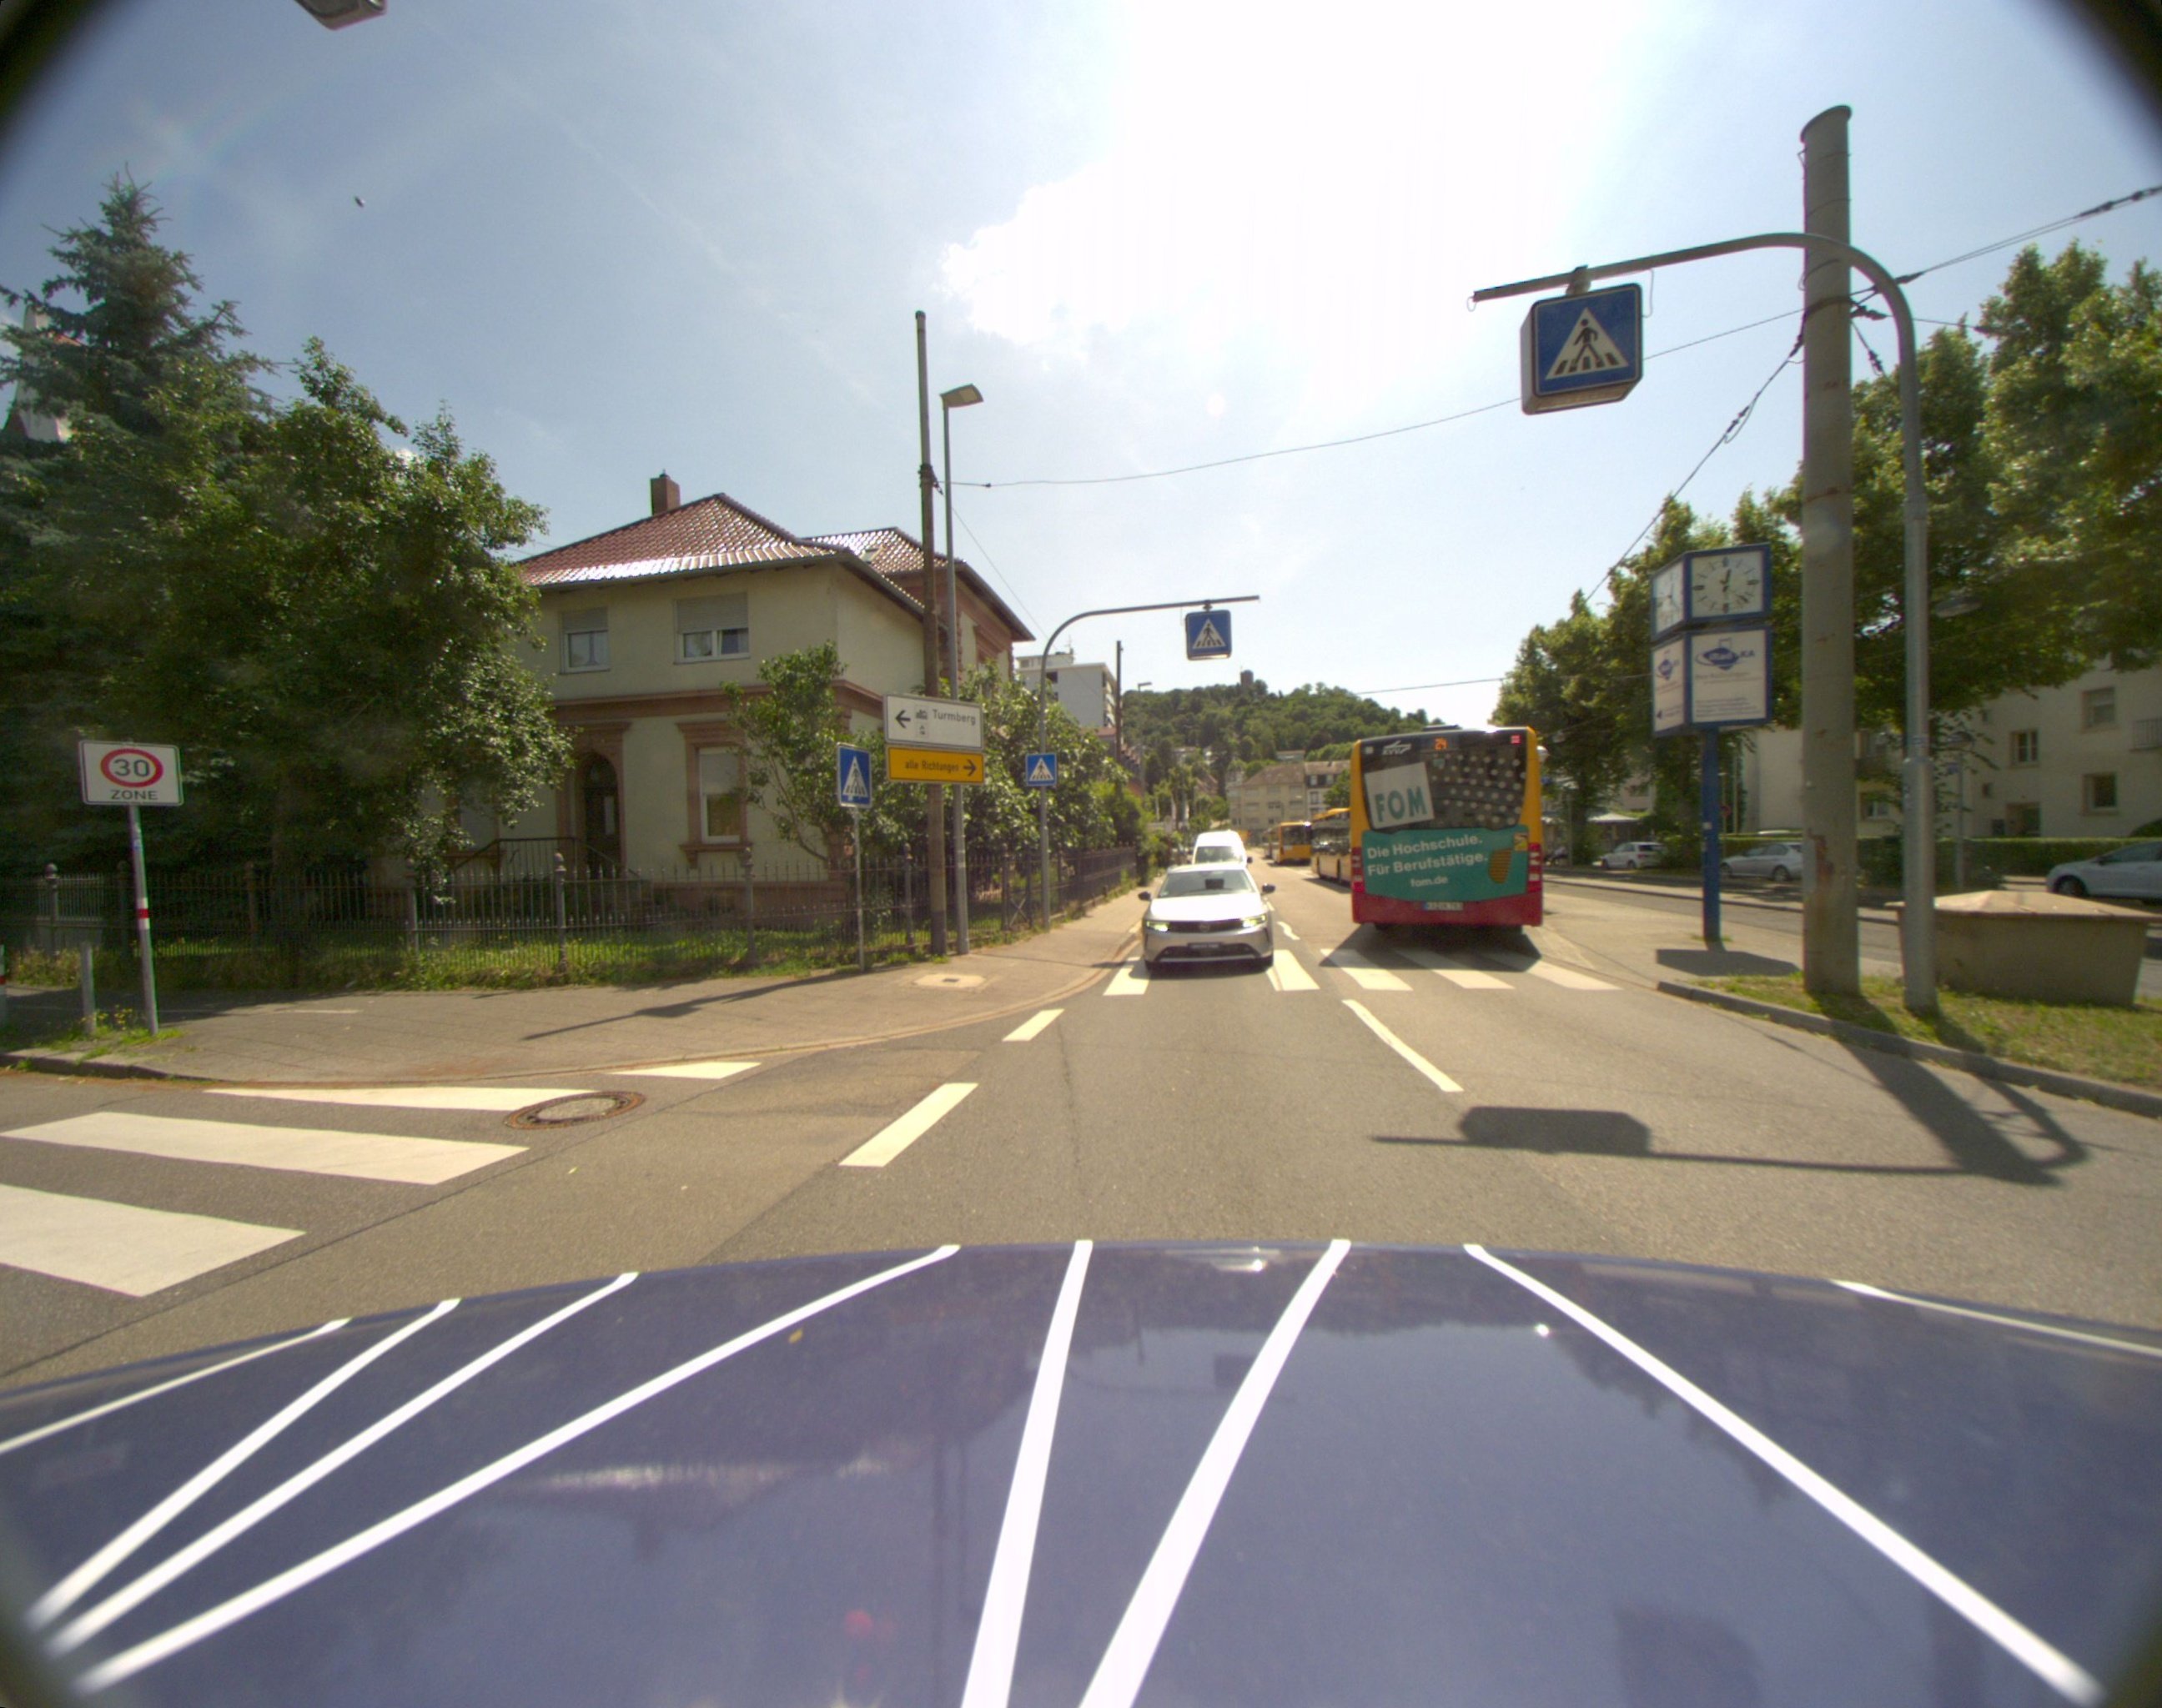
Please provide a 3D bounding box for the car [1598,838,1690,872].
[{"bbox_3d":[26.018,0.004,35.285,1.842,1.474,3.875,-1,1,9],"label":"car"}]

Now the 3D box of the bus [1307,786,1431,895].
[{"bbox_3d":[11.398,-0.515,31.452,2.693,3.586,12.217,-1,1,11],"label":"bus"}]

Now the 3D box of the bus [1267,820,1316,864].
[{"bbox_3d":[16.959,-0.954,61.883,2.573,3.170,10.161,-1,1,9],"label":"bus"}]

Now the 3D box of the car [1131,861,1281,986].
[{"bbox_3d":[1.949,0.927,11.792,1.800,1.457,4.174,-4,0,10],"label":"car"}]

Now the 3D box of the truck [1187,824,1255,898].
[{"bbox_3d":[4.750,0.206,26.214,2.018,2.236,5.411,-1,0,9],"label":"truck"}]

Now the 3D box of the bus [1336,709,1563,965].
[{"bbox_3d":[7.521,-0.288,15.161,2.701,3.278,10.877,-2,0,28],"label":"bus"}]

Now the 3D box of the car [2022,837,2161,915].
[{"bbox_3d":[22.200,0.424,15.341,1.842,1.474,3.958,-1,1,9],"label":"car"}]

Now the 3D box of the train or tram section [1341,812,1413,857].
[{"bbox_3d":[26.229,-1.721,68.089,2.895,3.500,13.908,-2,1,8],"label":"train or tram section"}]

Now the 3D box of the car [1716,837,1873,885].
[{"bbox_3d":[24.190,0.173,26.001,1.842,1.474,4.260,-1,1,9],"label":"car"}]
